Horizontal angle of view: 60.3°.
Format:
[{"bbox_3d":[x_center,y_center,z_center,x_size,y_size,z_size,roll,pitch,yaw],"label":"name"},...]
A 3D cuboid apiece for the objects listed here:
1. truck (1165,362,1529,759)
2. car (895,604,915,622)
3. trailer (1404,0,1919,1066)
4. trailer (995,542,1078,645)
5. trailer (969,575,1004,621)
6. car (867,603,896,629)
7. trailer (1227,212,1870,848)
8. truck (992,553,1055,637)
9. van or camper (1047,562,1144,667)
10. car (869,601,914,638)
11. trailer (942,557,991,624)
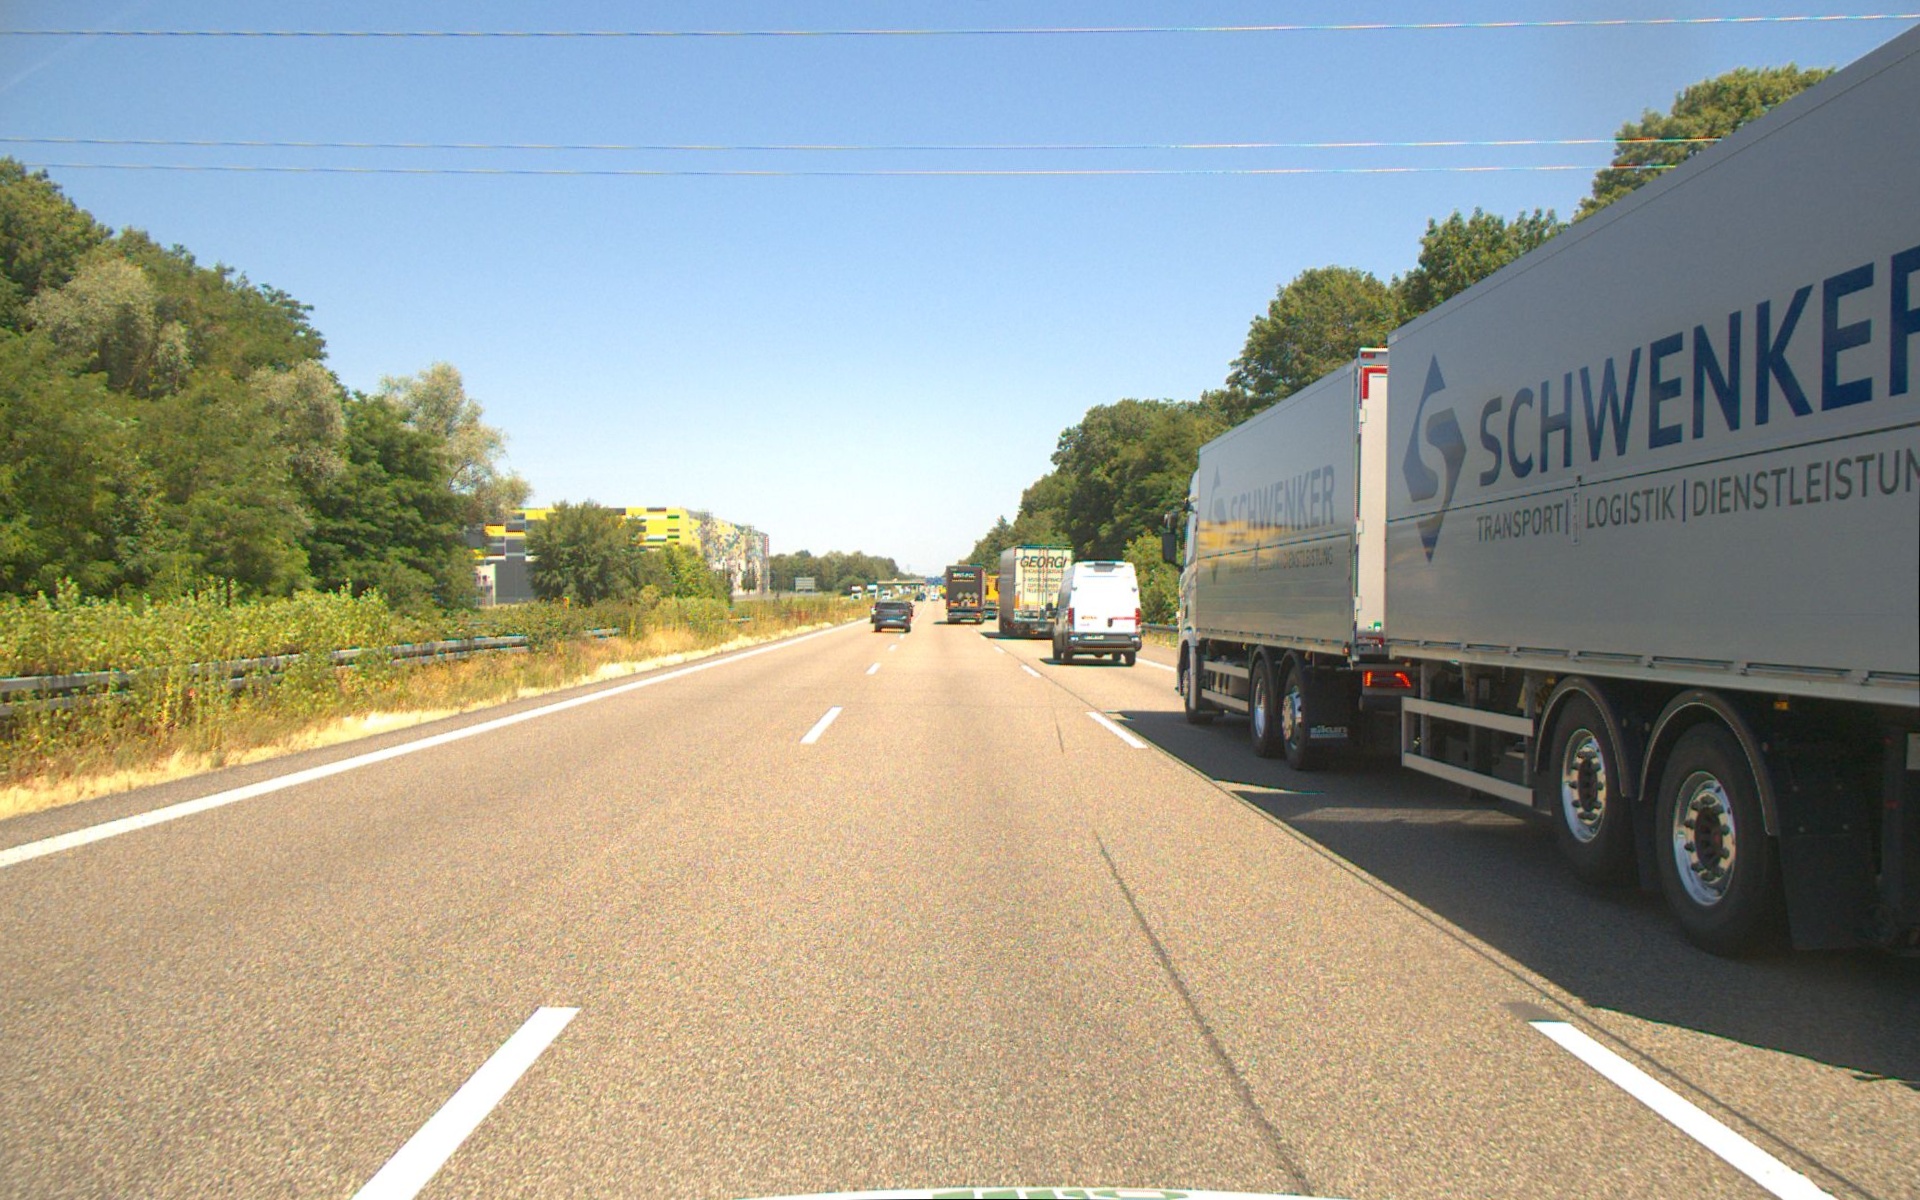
[{"bbox_3d":[4.484,-0.395,20.766,2.830,4.101,6.868,1,0,-1],"label":"truck"},{"bbox_3d":[-5.336,1.290,160.981,1.902,1.736,3.999,0,0,-1],"label":"car"},{"bbox_3d":[4.627,-0.481,7.416,2.885,4.134,8.126,1,0,-1],"label":"trailer"},{"bbox_3d":[3.445,-0.278,77.976,2.933,4.364,13.414,1,0,-1],"label":"trailer"},{"bbox_3d":[2.376,-0.195,153.173,2.777,4.023,11.680,1,0,-1],"label":"trailer"},{"bbox_3d":[-5.494,1.081,116.270,1.953,1.758,4.129,1,0,-2],"label":"car"},{"bbox_3d":[4.471,-0.437,14.520,2.861,4.112,7.315,1,0,-1],"label":"trailer"},{"bbox_3d":[3.265,-0.228,85.846,2.942,4.197,5.251,1,0,-1],"label":"truck"},{"bbox_3d":[3.665,0.377,45.813,1.981,2.683,6.485,1,0,-1],"label":"van or camper"},{"bbox_3d":[-3.434,0.970,84.359,2.171,1.821,5.392,0,0,-1],"label":"car"},{"bbox_3d":[0.370,-0.628,121.187,3.043,4.585,14.890,1,0,-2],"label":"trailer"}]
